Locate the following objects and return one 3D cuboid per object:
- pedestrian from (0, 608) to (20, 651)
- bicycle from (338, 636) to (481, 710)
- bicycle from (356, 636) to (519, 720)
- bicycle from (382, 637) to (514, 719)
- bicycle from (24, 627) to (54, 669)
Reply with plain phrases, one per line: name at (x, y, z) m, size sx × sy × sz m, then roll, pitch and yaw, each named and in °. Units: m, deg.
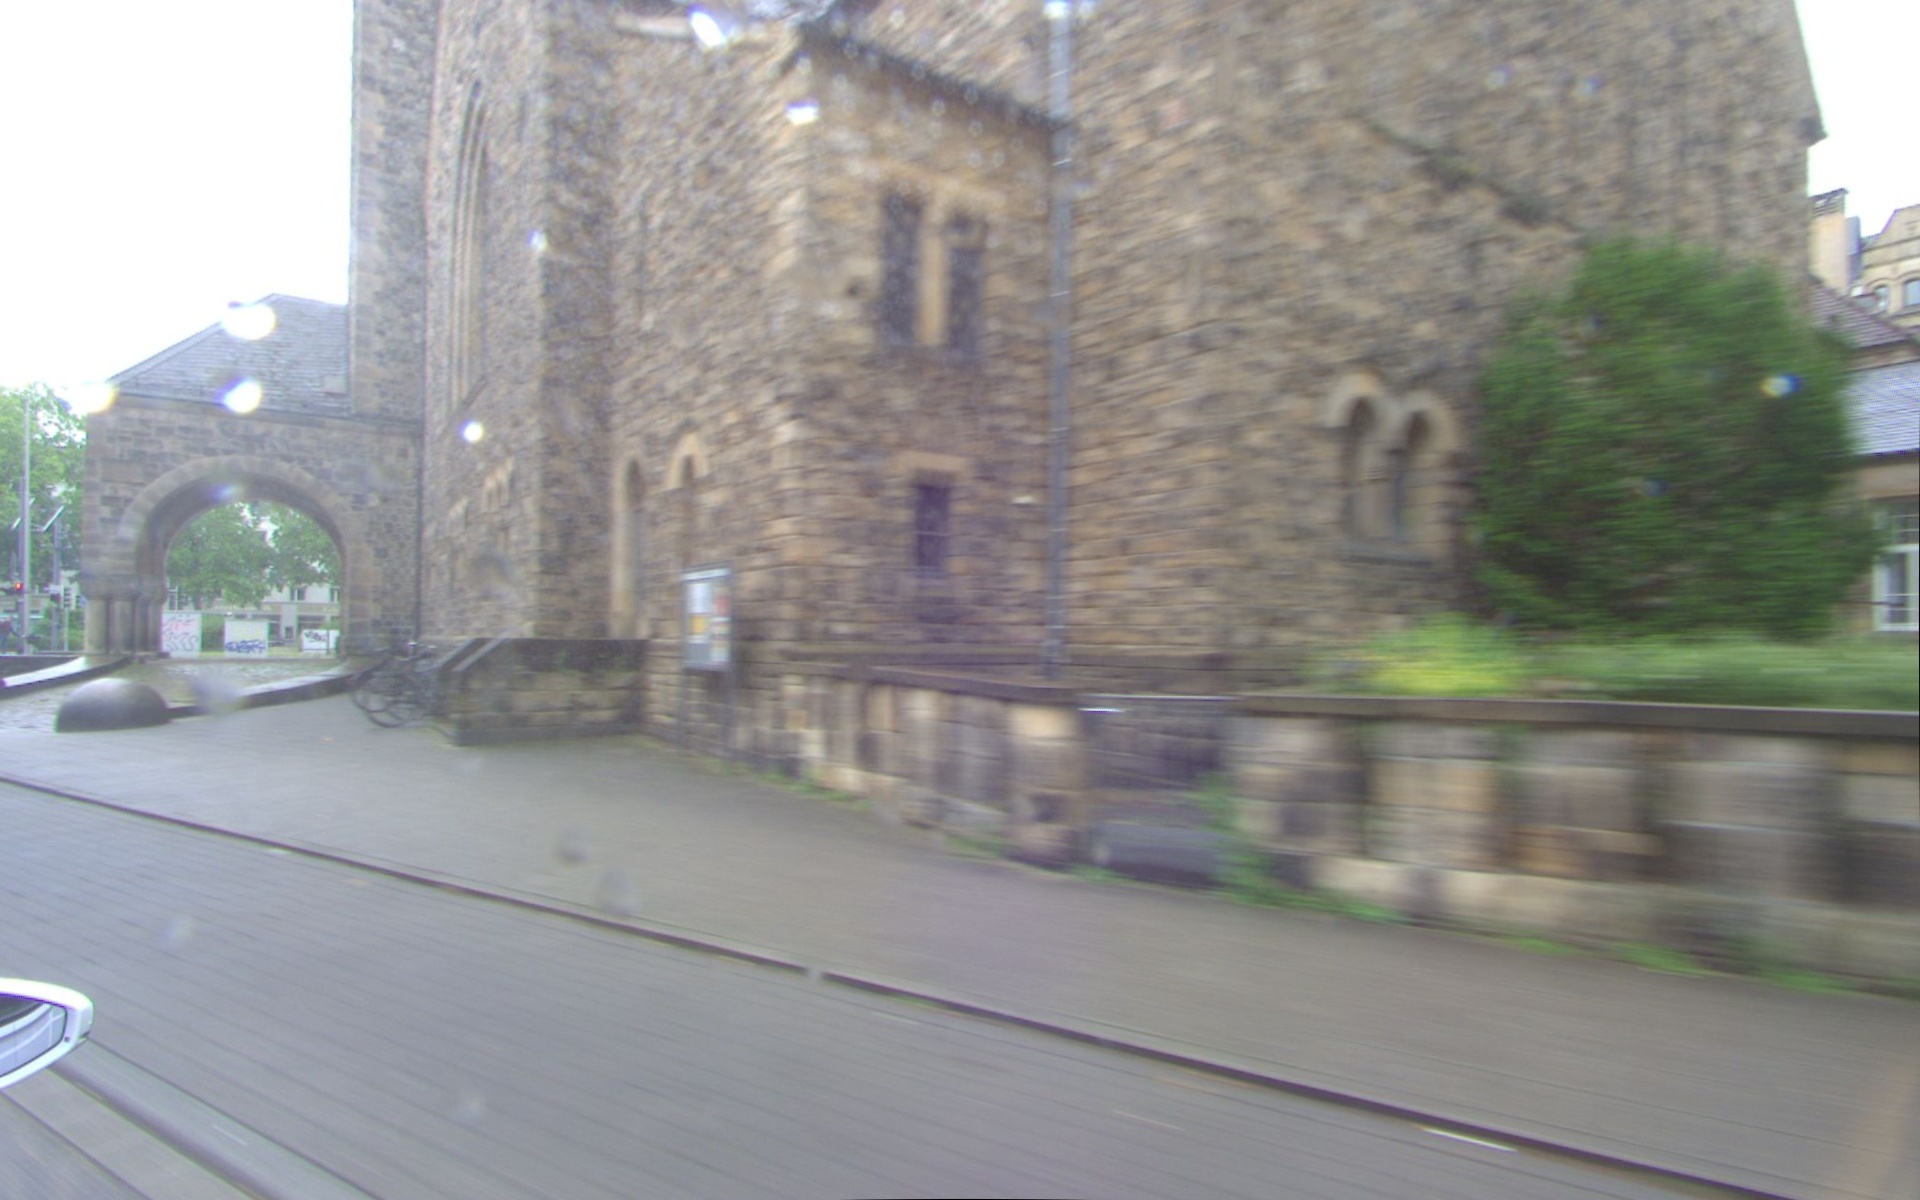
pedestrian at (-40.224, 1.249, 42.258) m, size 0.780 × 1.782 × 0.937 m, roll 1°, pitch -1°, yaw -42°
bicycle at (-9.171, 1.180, 16.741) m, size 0.684 × 1.119 × 1.972 m, roll -1°, pitch 0°, yaw 44°
bicycle at (-7.337, 1.061, 14.137) m, size 1.971 × 1.068 × 0.508 m, roll 0°, pitch 0°, yaw -44°
bicycle at (-7.763, 1.154, 15.238) m, size 1.697 × 1.126 × 0.556 m, roll 0°, pitch 0°, yaw -44°
bicycle at (-26.852, 1.391, 29.186) m, size 2.049 × 1.169 × 0.327 m, roll -1°, pitch -1°, yaw 39°
